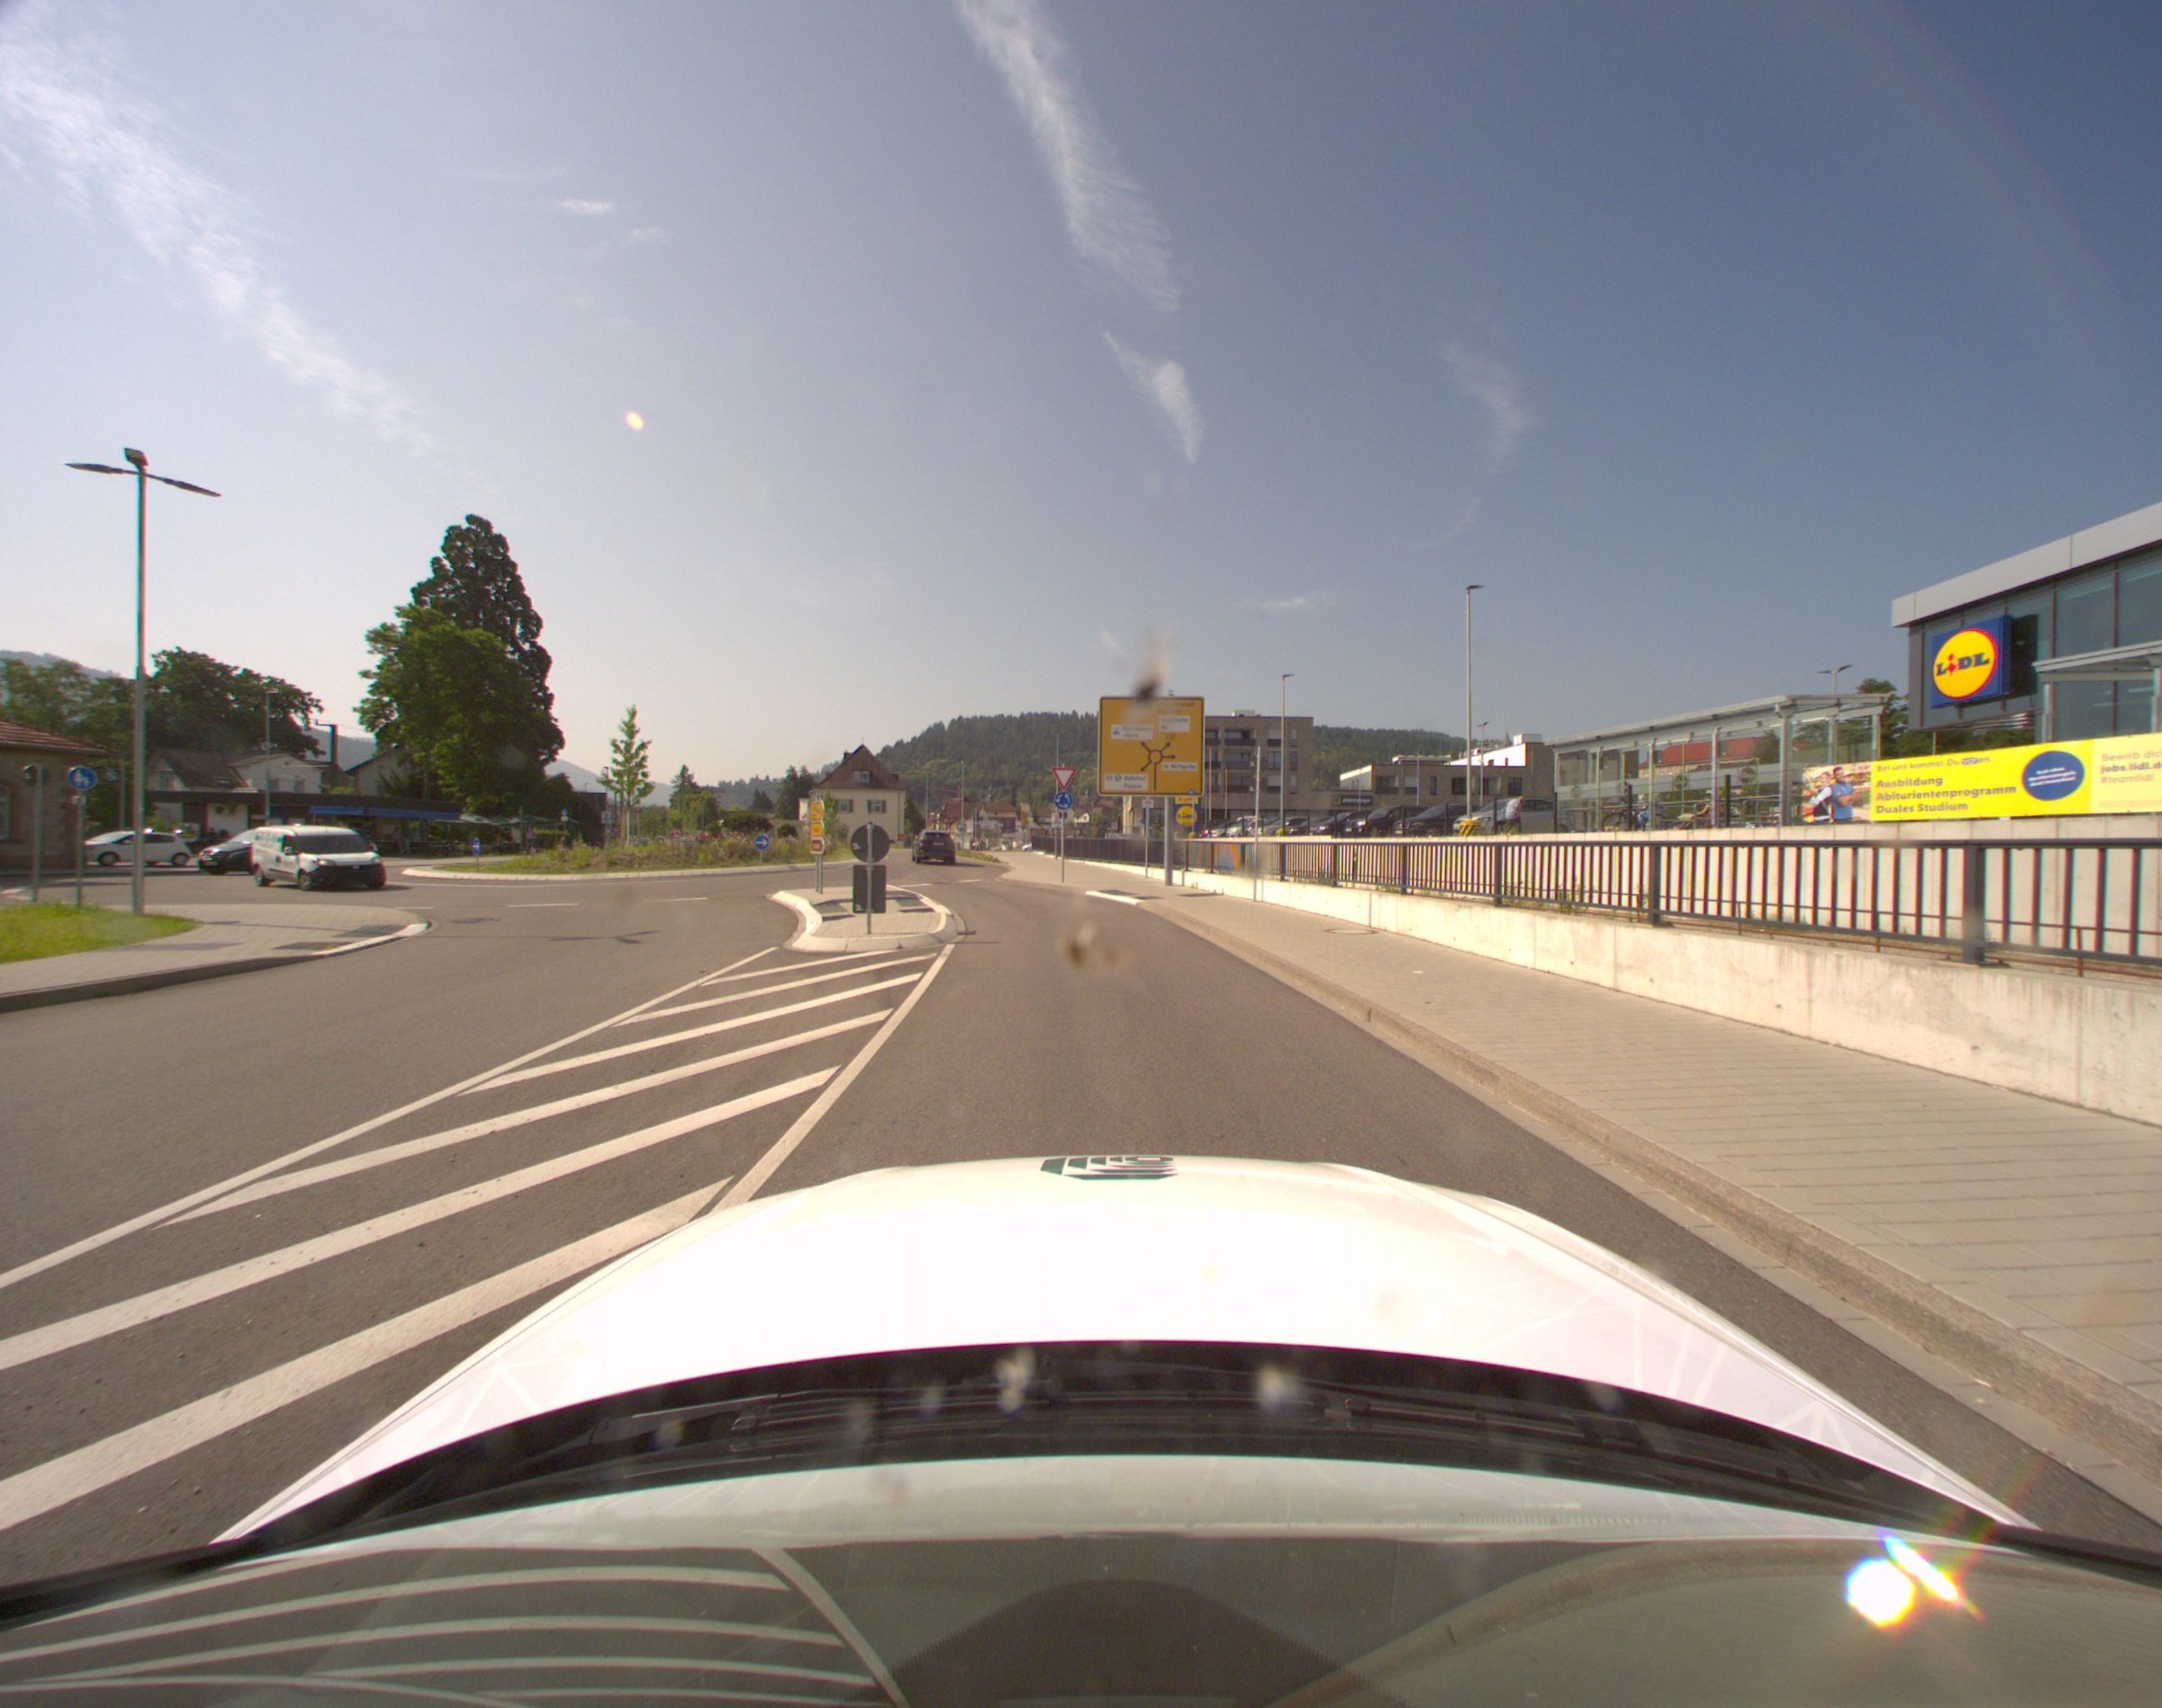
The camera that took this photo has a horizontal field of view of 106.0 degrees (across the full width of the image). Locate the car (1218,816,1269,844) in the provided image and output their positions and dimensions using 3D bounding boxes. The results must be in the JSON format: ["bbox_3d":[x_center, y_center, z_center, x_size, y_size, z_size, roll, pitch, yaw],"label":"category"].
[{"bbox_3d":[13.022,-1.932,65.439,3.963,2.136,2.005,0,0,9],"label":"car"}]

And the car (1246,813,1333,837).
[{"bbox_3d":[11.276,-1.546,44.073,4.282,1.245,1.657,0,1,-13],"label":"car"}]

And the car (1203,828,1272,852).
[{"bbox_3d":[10.073,-0.913,52.499,4.056,1.487,1.711,0,1,-10],"label":"car"}]

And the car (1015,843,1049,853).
[{"bbox_3d":[-5.005,-0.576,83.466,3.237,0.964,1.358,0,0,29],"label":"car"}]

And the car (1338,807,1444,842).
[{"bbox_3d":[13.353,-1.251,35.145,4.009,1.404,1.718,0,1,-13],"label":"car"}]

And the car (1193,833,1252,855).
[{"bbox_3d":[9.548,-0.701,55.100,3.558,1.430,1.704,0,1,-12],"label":"car"}]

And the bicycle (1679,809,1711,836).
[{"bbox_3d":[20.524,-1.049,27.229,0.534,0.900,0.675,0,0,-17],"label":"bicycle"}]

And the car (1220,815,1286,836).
[{"bbox_3d":[10.476,-1.707,49.750,3.558,1.199,1.707,0,1,-12],"label":"car"}]

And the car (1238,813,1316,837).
[{"bbox_3d":[11.255,-1.637,46.776,4.040,1.342,1.653,0,1,-12],"label":"car"}]

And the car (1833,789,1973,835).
[{"bbox_3d":[32.593,-1.629,32.427,1.618,1.652,3.695,0,0,-10],"label":"car"}]

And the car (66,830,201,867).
[{"bbox_3d":[-40.459,-0.208,34.901,1.380,1.450,3.544,0,-1,8],"label":"car"}]

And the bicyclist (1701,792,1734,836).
[{"bbox_3d":[20.733,-1.293,26.547,0.431,1.423,0.720,0,0,-17],"label":"bicyclist"}]

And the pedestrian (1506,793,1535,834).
[{"bbox_3d":[14.501,-1.341,26.875,0.547,1.312,0.654,0,0,-10],"label":"pedestrian"}]

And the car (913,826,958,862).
[{"bbox_3d":[-7.226,-0.454,40.089,1.884,1.684,3.980,0,0,-15],"label":"car"}]

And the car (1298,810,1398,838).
[{"bbox_3d":[12.620,-1.382,38.497,4.217,1.245,1.737,0,1,-13],"label":"car"}]

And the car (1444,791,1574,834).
[{"bbox_3d":[14.812,-1.408,28.241,3.809,1.364,1.673,0,1,-13],"label":"car"}]

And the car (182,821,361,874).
[{"bbox_3d":[-32.174,-0.254,32.627,1.828,1.946,4.896,0,0,11],"label":"car"}]

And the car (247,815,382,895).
[{"bbox_3d":[-22.982,-0.060,24.381,4.546,2.077,1.824,4,4,32],"label":"car"}]

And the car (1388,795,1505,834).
[{"bbox_3d":[14.129,-1.508,31.513,4.065,1.404,1.479,0,1,-13],"label":"car"}]

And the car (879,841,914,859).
[{"bbox_3d":[-21.682,-0.442,95.663,1.976,2.013,4.022,-1,0,23],"label":"car"}]

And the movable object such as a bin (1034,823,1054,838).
[{"bbox_3d":[-4.475,-2.822,98.434,2.438,1.844,1.427,0,0,-4],"label":"movable object such as a bin"}]

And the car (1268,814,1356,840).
[{"bbox_3d":[11.690,-1.344,41.329,3.970,1.245,1.723,0,1,-13],"label":"car"}]
